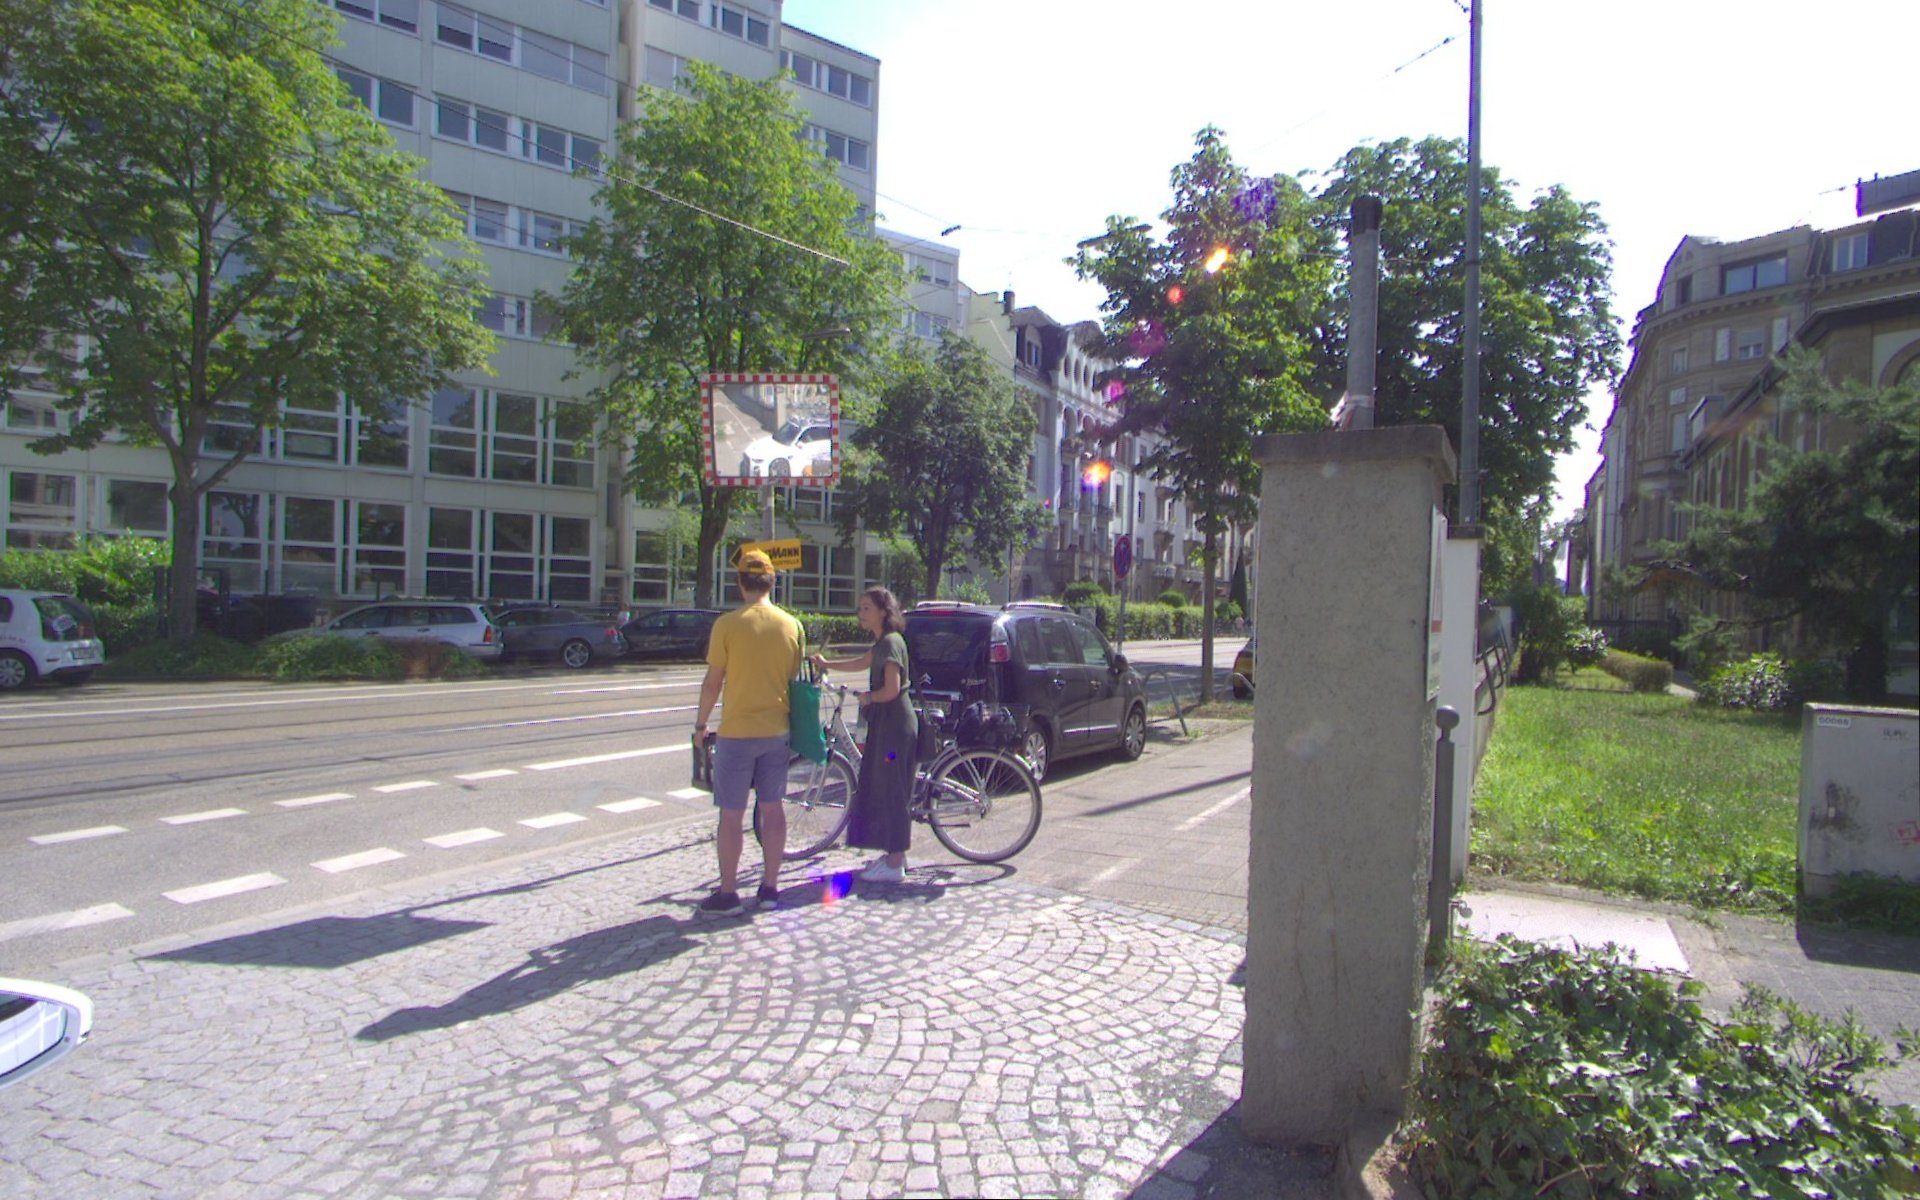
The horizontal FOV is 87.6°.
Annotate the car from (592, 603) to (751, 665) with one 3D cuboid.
[{"bbox_3d":[-7.561,0.899,26.442,3.875,1.505,1.556,2,0,-16],"label":"car"}]

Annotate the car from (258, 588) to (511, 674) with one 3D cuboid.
[{"bbox_3d":[-11.736,0.658,20.736,4.270,1.625,1.555,2,-1,-19],"label":"car"}]

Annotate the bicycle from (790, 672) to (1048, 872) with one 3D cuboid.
[{"bbox_3d":[-0.247,1.003,6.034,1.484,1.055,0.363,2,0,12],"label":"bicycle"}]

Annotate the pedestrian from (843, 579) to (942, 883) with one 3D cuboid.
[{"bbox_3d":[-0.376,0.720,5.687,0.445,1.642,0.422,-1,-1,12],"label":"pedestrian"}]

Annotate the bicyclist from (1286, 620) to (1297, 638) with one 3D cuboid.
[{"bbox_3d":[29.716,2.570,89.766,0.793,1.563,0.860,2,0,33],"label":"bicyclist"}]

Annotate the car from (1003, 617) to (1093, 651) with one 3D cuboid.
[{"bbox_3d":[4.324,1.652,49.192,3.929,1.527,1.997,2,-1,-16],"label":"car"}]

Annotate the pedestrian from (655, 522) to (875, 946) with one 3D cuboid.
[{"bbox_3d":[-0.999,0.608,5.026,0.841,1.889,0.826,1,0,-29],"label":"pedestrian"}]

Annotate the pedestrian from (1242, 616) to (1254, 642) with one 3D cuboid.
[{"bbox_3d":[22.114,2.192,76.802,0.680,1.958,0.785,2,0,28],"label":"pedestrian"}]

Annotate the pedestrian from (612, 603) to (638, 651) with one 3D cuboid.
[{"bbox_3d":[-10.364,0.837,30.964,0.417,1.480,0.620,2,0,27],"label":"pedestrian"}]

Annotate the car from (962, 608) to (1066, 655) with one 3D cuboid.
[{"bbox_3d":[2.284,1.322,42.533,3.935,1.884,1.994,2,-1,-23],"label":"car"}]

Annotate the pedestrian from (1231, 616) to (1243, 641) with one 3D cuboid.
[{"bbox_3d":[21.343,2.192,77.109,0.680,1.958,0.785,2,0,28],"label":"pedestrian"}]

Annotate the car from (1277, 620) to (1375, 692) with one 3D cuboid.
[{"bbox_3d":[9.720,1.409,26.419,1.828,1.702,3.985,1,-1,28],"label":"car"}]

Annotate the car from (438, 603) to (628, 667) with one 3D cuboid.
[{"bbox_3d":[-9.897,0.813,23.483,3.875,1.375,1.556,2,0,-16],"label":"car"}]

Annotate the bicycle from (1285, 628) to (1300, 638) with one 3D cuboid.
[{"bbox_3d":[29.753,2.941,89.558,0.670,0.929,2.309,2,0,32],"label":"bicycle"}]

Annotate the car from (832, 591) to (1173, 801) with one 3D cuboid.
[{"bbox_3d":[0.647,0.838,10.395,1.829,1.706,3.981,1,-1,31],"label":"car"}]

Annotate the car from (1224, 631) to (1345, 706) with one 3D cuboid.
[{"bbox_3d":[7.213,1.421,22.027,1.828,1.430,3.985,1,-1,28],"label":"car"}]

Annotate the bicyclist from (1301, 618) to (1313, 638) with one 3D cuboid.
[{"bbox_3d":[30.865,2.490,89.082,0.793,1.825,0.860,2,0,33],"label":"bicyclist"}]

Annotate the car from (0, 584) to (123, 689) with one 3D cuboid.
[{"bbox_3d":[-15.160,0.510,14.844,3.874,1.505,1.611,1,0,-15],"label":"car"}]
